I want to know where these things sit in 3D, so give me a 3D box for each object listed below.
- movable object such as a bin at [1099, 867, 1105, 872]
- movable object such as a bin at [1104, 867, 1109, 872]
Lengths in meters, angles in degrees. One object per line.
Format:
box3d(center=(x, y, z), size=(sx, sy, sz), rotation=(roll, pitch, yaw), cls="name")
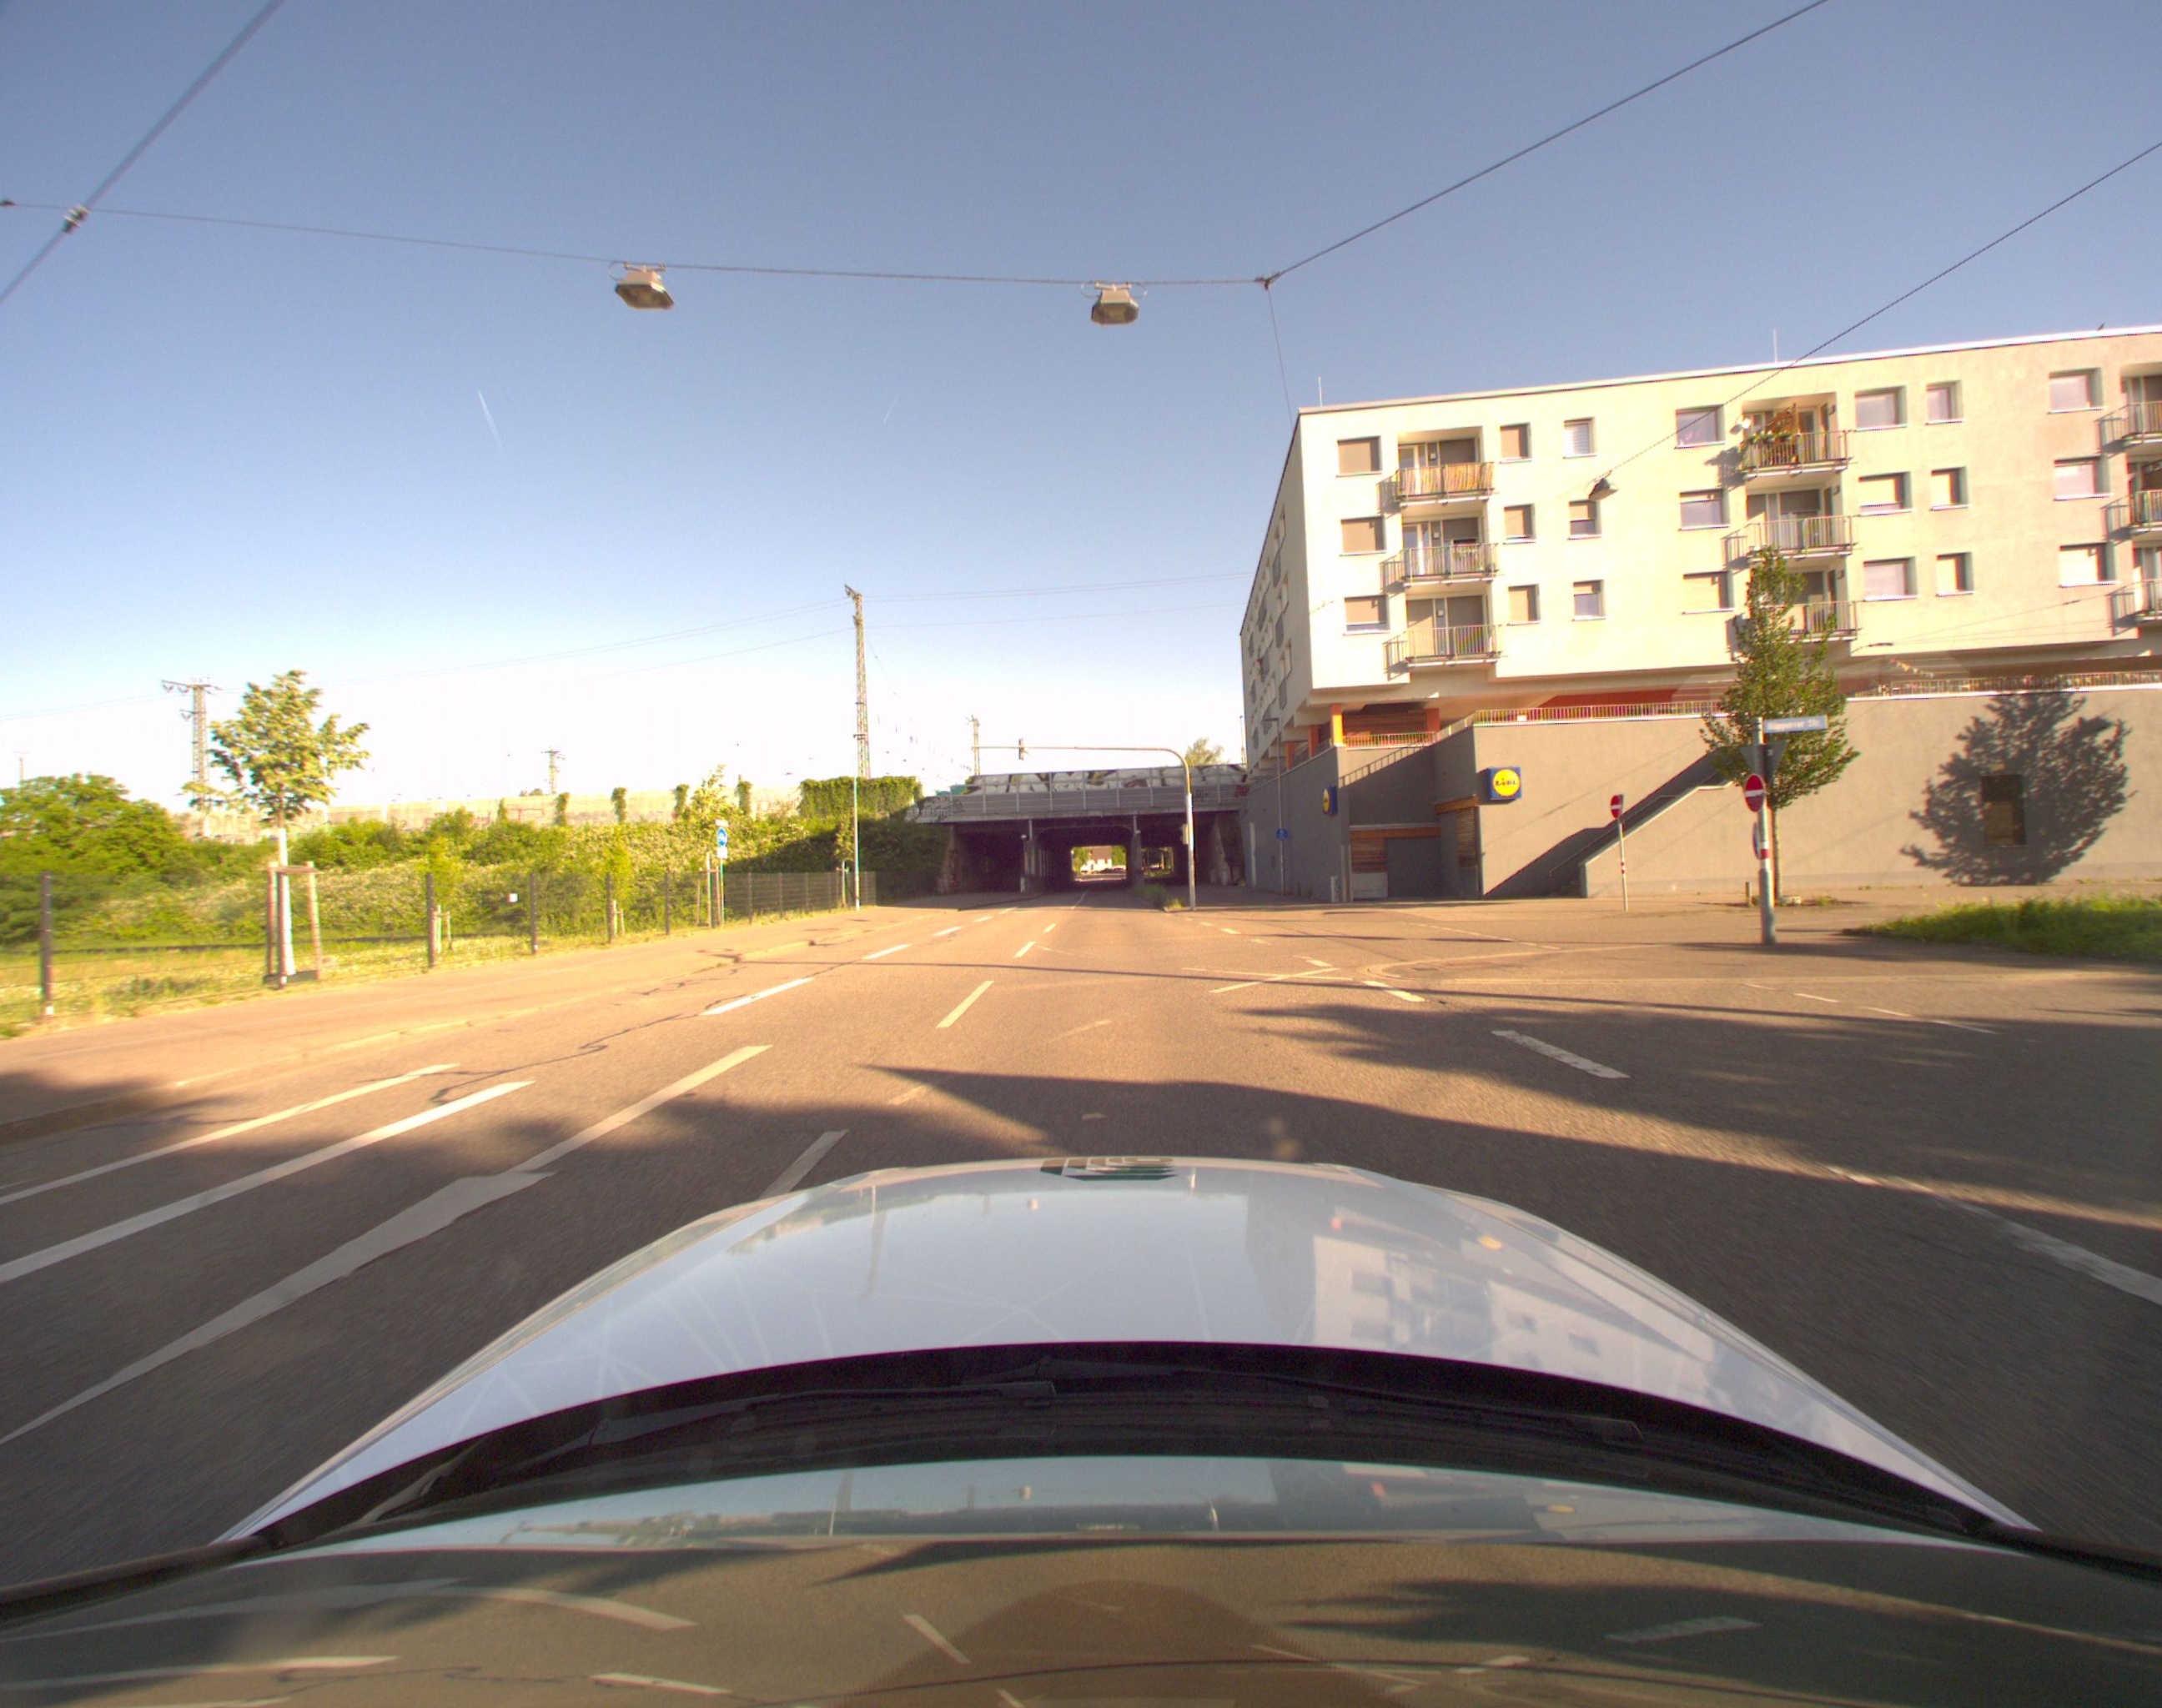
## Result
box3d(center=(5.977, 4.395, 232.438), size=(1.362, 1.418, 1.063), rotation=(0, -2, -5), cls="movable object such as a bin")
box3d(center=(7.371, 4.396, 232.588), size=(1.362, 1.418, 1.063), rotation=(0, -2, -5), cls="movable object such as a bin")
